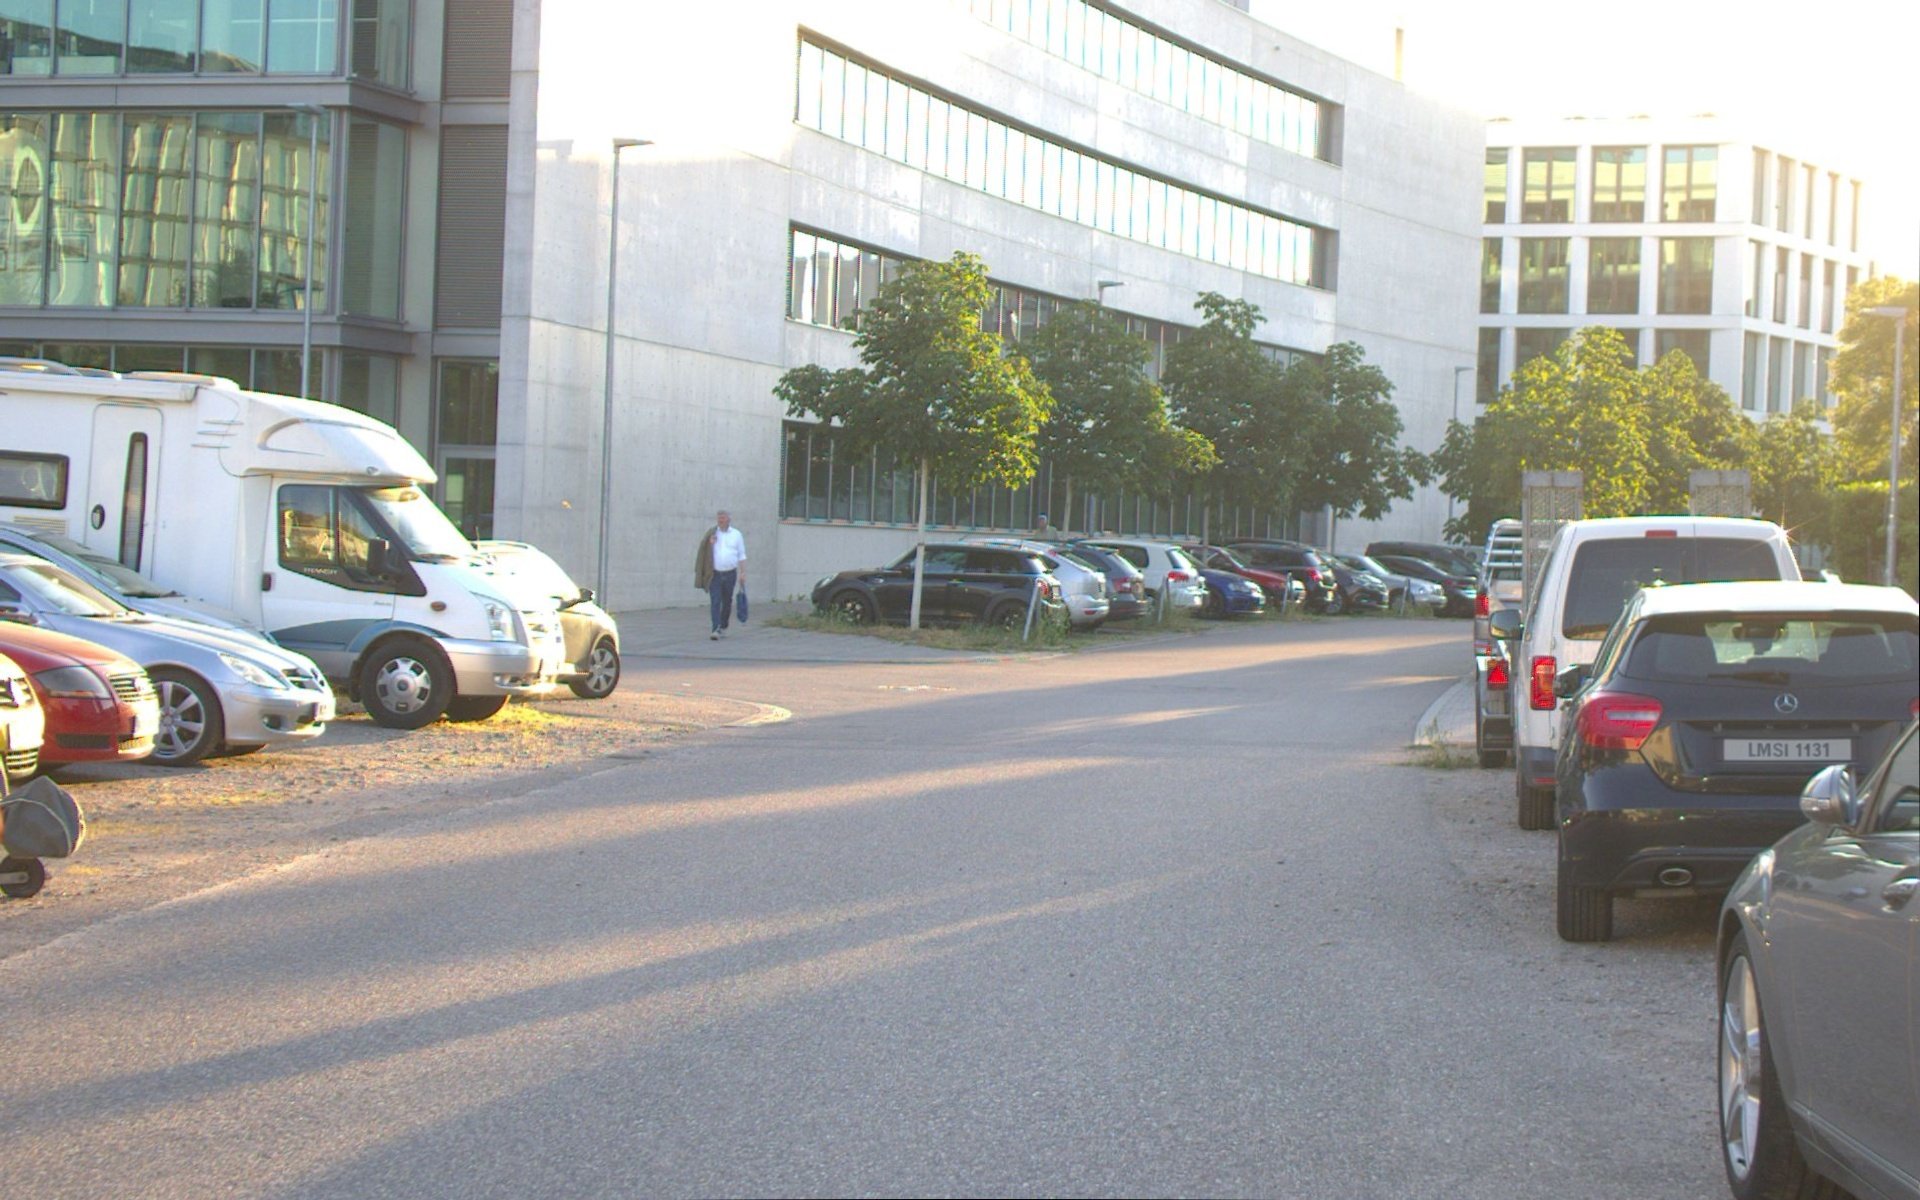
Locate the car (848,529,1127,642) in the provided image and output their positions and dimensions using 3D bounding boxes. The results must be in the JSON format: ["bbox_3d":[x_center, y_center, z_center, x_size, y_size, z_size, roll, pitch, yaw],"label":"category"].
[{"bbox_3d":[0.451,-0.247,54.661,4.088,1.523,1.845,3,1,12],"label":"car"}]

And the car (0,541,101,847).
[{"bbox_3d":[-6.577,0.378,18.004,3.628,1.514,1.705,3,1,3],"label":"car"}]

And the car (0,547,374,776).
[{"bbox_3d":[-6.045,0.346,23.047,3.808,1.324,1.693,3,1,5],"label":"car"}]

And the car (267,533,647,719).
[{"bbox_3d":[-4.561,0.227,31.856,1.688,1.514,4.357,4,1,17],"label":"car"}]

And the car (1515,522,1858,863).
[{"bbox_3d":[4.326,0.479,21.020,1.772,1.825,4.406,1,1,9],"label":"car"}]

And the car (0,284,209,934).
[{"bbox_3d":[-6.508,-0.150,14.580,5.890,2.525,2.411,4,1,8],"label":"car"}]

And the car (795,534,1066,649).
[{"bbox_3d":[-0.428,-0.148,51.907,3.736,1.477,1.769,3,2,12],"label":"car"}]

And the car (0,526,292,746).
[{"bbox_3d":[-7.038,0.207,25.851,3.604,1.471,1.693,3,1,2],"label":"car"}]

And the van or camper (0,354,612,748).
[{"bbox_3d":[-6.510,-0.470,28.400,6.742,2.887,2.408,3,1,7],"label":"van or camper"}]

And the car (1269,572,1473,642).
[{"bbox_3d":[9.773,0.138,81.797,4.439,1.459,1.761,3,2,24],"label":"car"}]

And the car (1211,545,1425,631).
[{"bbox_3d":[7.935,-0.266,76.192,4.313,1.690,1.894,3,1,20],"label":"car"}]

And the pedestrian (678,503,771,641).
[{"bbox_3d":[-3.232,-0.388,47.138,0.899,1.844,0.856,0,2,-41],"label":"pedestrian"}]

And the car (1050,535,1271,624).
[{"bbox_3d":[3.884,-0.409,66.529,3.873,1.506,1.758,3,2,18],"label":"car"}]

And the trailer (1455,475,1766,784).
[{"bbox_3d":[5.095,0.163,27.589,2.065,2.204,5.221,1,1,7],"label":"trailer"}]

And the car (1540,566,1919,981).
[{"bbox_3d":[3.435,0.635,15.018,1.705,1.514,4.086,1,1,10],"label":"car"}]

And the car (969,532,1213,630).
[{"bbox_3d":[2.359,-0.358,61.672,3.990,1.506,1.758,3,2,17],"label":"car"}]

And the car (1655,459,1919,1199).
[{"bbox_3d":[2.515,0.619,6.090,1.806,1.719,4.928,0,1,3],"label":"car"}]

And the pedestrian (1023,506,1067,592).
[{"bbox_3d":[1.801,-1.085,72.771,0.646,1.778,0.724,3,1,18],"label":"pedestrian"}]

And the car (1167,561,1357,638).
[{"bbox_3d":[6.483,-0.014,73.797,3.706,1.452,1.677,3,1,20],"label":"car"}]

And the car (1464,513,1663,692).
[{"bbox_3d":[7.669,-0.013,43.338,2.067,2.087,4.869,1,1,14],"label":"car"}]

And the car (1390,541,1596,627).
[{"bbox_3d":[14.451,-0.446,93.249,5.083,1.940,1.886,5,1,25],"label":"car"}]

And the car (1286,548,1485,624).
[{"bbox_3d":[10.410,-0.345,84.158,4.404,1.494,1.760,5,1,28],"label":"car"}]

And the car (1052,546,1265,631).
[{"bbox_3d":[3.677,-0.229,63.404,3.635,1.357,1.685,3,2,13],"label":"car"}]

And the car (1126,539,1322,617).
[{"bbox_3d":[5.523,-0.452,71.874,3.706,1.452,1.710,3,1,19],"label":"car"}]

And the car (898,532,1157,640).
[{"bbox_3d":[1.126,-0.255,56.935,4.000,1.507,1.584,3,3,12],"label":"car"}]

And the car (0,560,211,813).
[{"bbox_3d":[-6.585,0.415,20.577,3.726,1.362,1.705,3,1,3],"label":"car"}]
